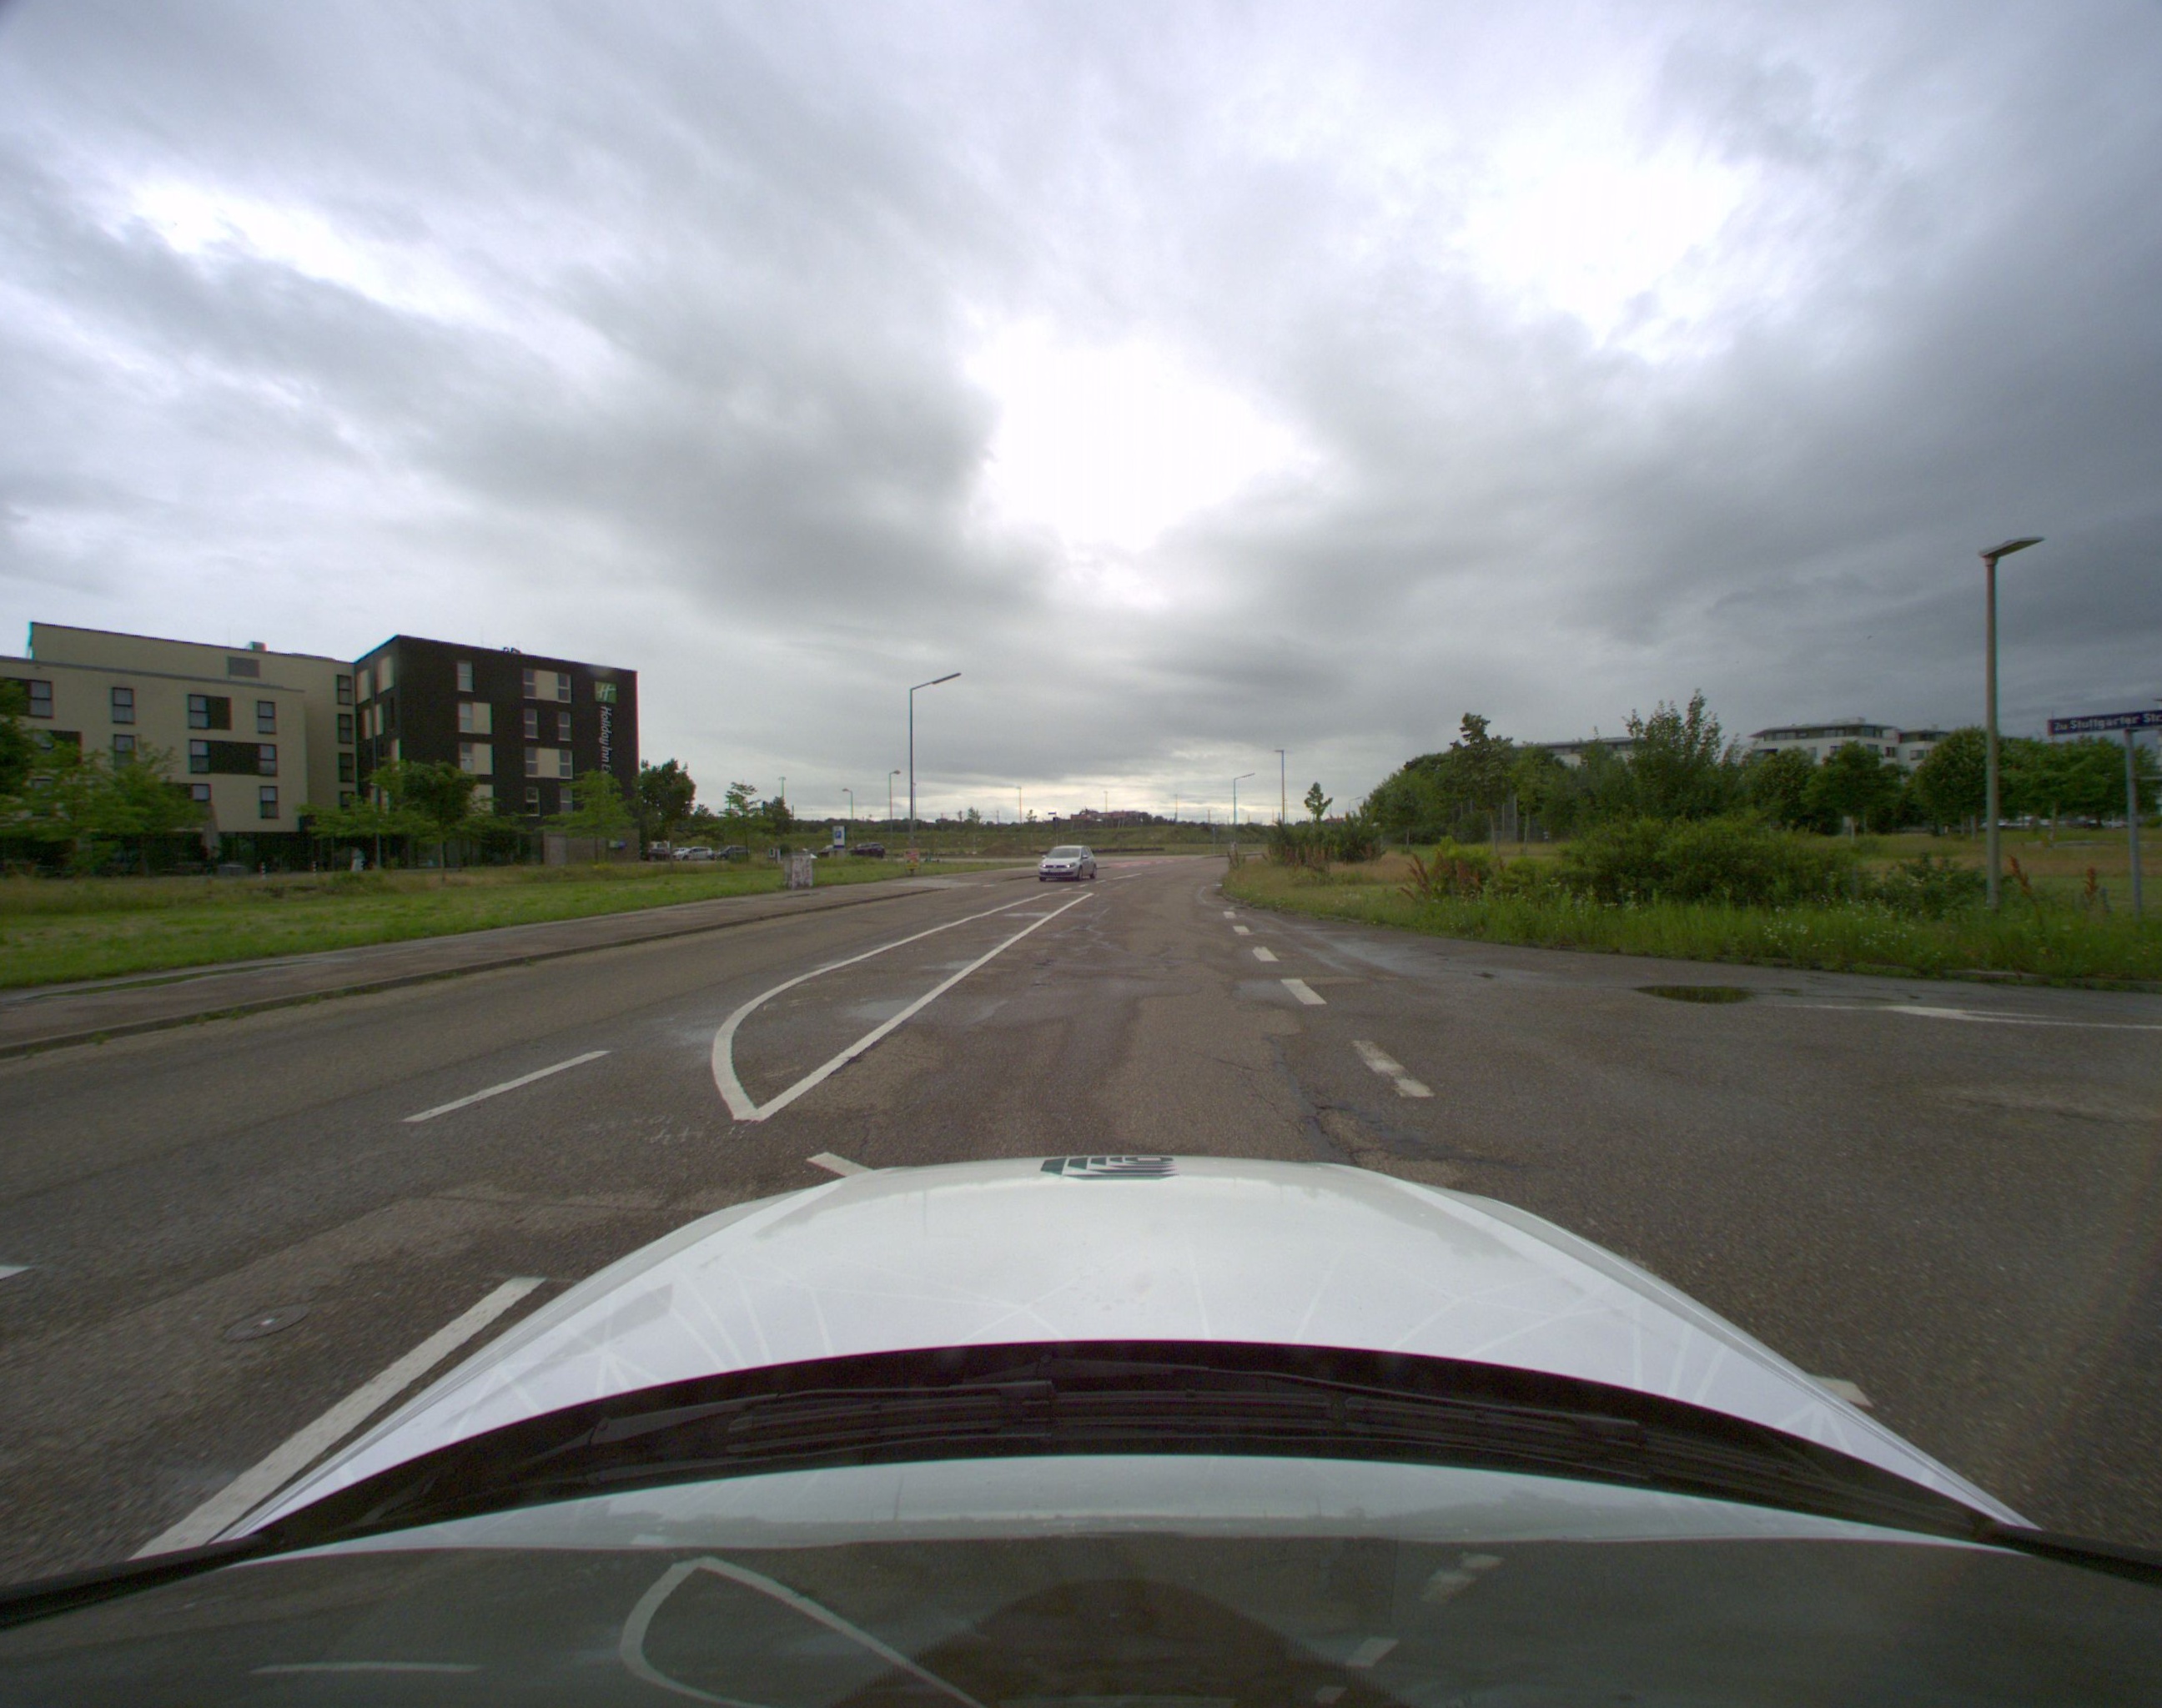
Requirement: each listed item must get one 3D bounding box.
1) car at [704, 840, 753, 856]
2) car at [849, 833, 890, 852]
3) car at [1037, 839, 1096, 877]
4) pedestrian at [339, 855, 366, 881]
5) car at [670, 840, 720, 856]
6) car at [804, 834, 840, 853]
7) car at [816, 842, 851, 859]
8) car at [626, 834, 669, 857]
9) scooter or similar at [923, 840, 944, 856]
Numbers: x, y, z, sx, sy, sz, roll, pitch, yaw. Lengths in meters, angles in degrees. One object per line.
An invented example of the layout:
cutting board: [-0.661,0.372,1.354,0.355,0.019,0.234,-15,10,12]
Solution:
car: [-33.831,-0.601,78.266,1.676,1.442,4.026,0,2,36]
car: [-21.390,-1.151,82.292,3.948,1.822,2.013,0,2,38]
car: [-0.543,0.117,34.746,1.661,1.461,4.070,1,1,11]
pedestrian: [-46.777,0.893,52.285,0.943,1.570,0.880,-1,2,21]
car: [-39.361,-0.609,83.067,1.974,1.517,4.180,0,2,30]
car: [-27.677,-1.124,86.993,3.950,2.013,2.012,1,2,43]
car: [-25.973,-0.389,85.425,3.629,1.752,1.817,0,2,39]
car: [-59.175,-1.187,111.128,6.491,2.956,2.732,0,2,38]
scooter or similar: [-11.395,-0.464,62.865,1.453,1.168,0.573,0,1,12]
